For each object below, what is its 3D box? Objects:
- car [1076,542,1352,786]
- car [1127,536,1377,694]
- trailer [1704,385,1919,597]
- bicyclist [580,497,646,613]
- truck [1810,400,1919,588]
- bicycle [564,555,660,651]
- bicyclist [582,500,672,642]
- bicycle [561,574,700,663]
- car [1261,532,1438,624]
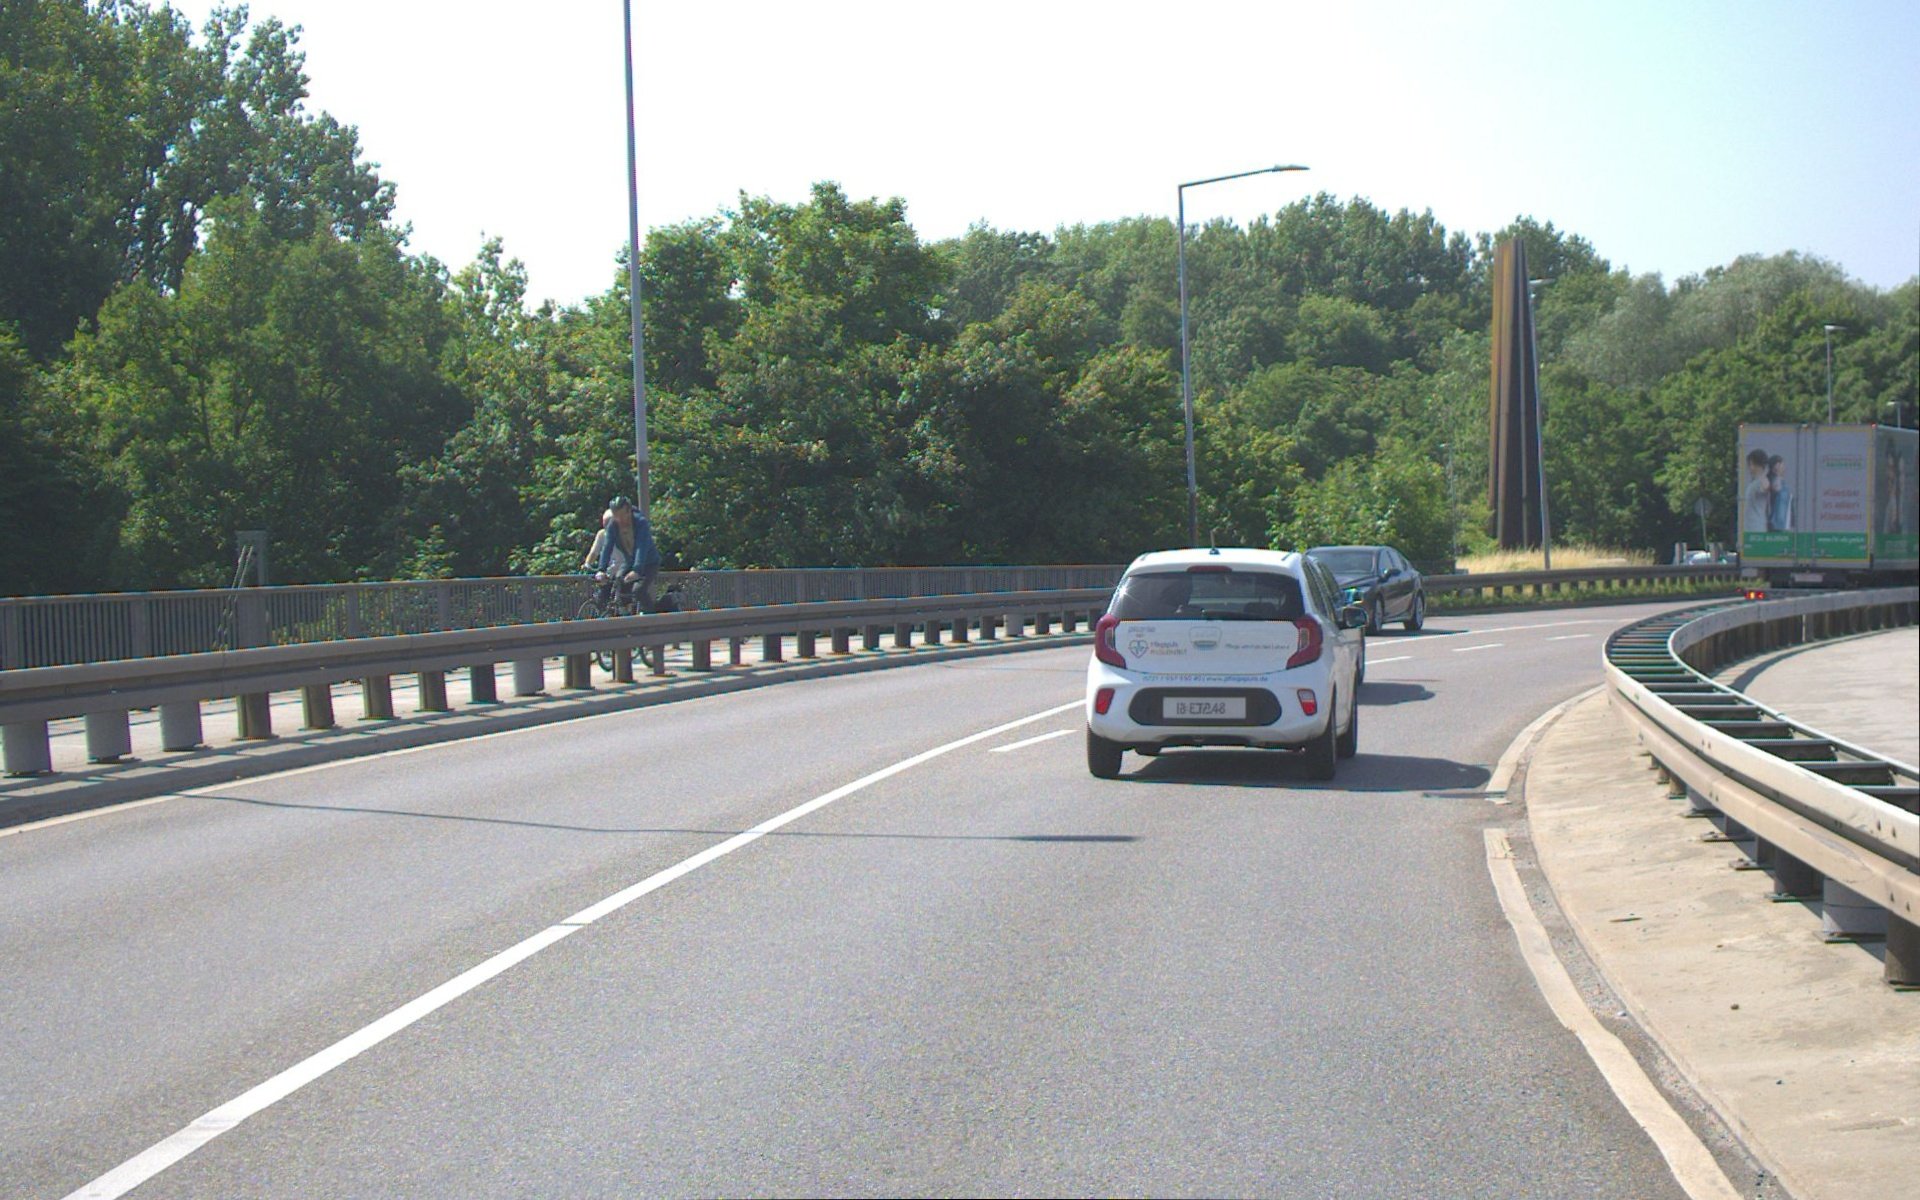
[{"bbox_3d":[1.801,0.367,23.674,1.702,1.489,3.999,1,1,6],"label":"car"},{"bbox_3d":[3.082,0.095,35.369,1.940,1.481,4.897,1,1,12],"label":"car"},{"bbox_3d":[17.053,-2.075,66.118,3.229,3.745,7.813,3,2,28],"label":"trailer"},{"bbox_3d":[-4.009,-0.512,39.792,0.488,1.324,0.946,1,0,11],"label":"bicyclist"},{"bbox_3d":[20.879,-2.218,73.298,3.265,3.745,8.358,3,2,28],"label":"truck"},{"bbox_3d":[-4.021,0.027,39.860,0.574,1.043,1.709,-2,1,12],"label":"bicycle"},{"bbox_3d":[-3.595,-0.322,37.164,0.661,1.491,1.015,1,3,14],"label":"bicyclist"},{"bbox_3d":[-3.562,0.187,37.336,0.929,0.888,1.966,0,2,13],"label":"bicycle"},{"bbox_3d":[6.535,-0.385,57.214,1.820,1.425,4.859,0,1,20],"label":"car"}]
